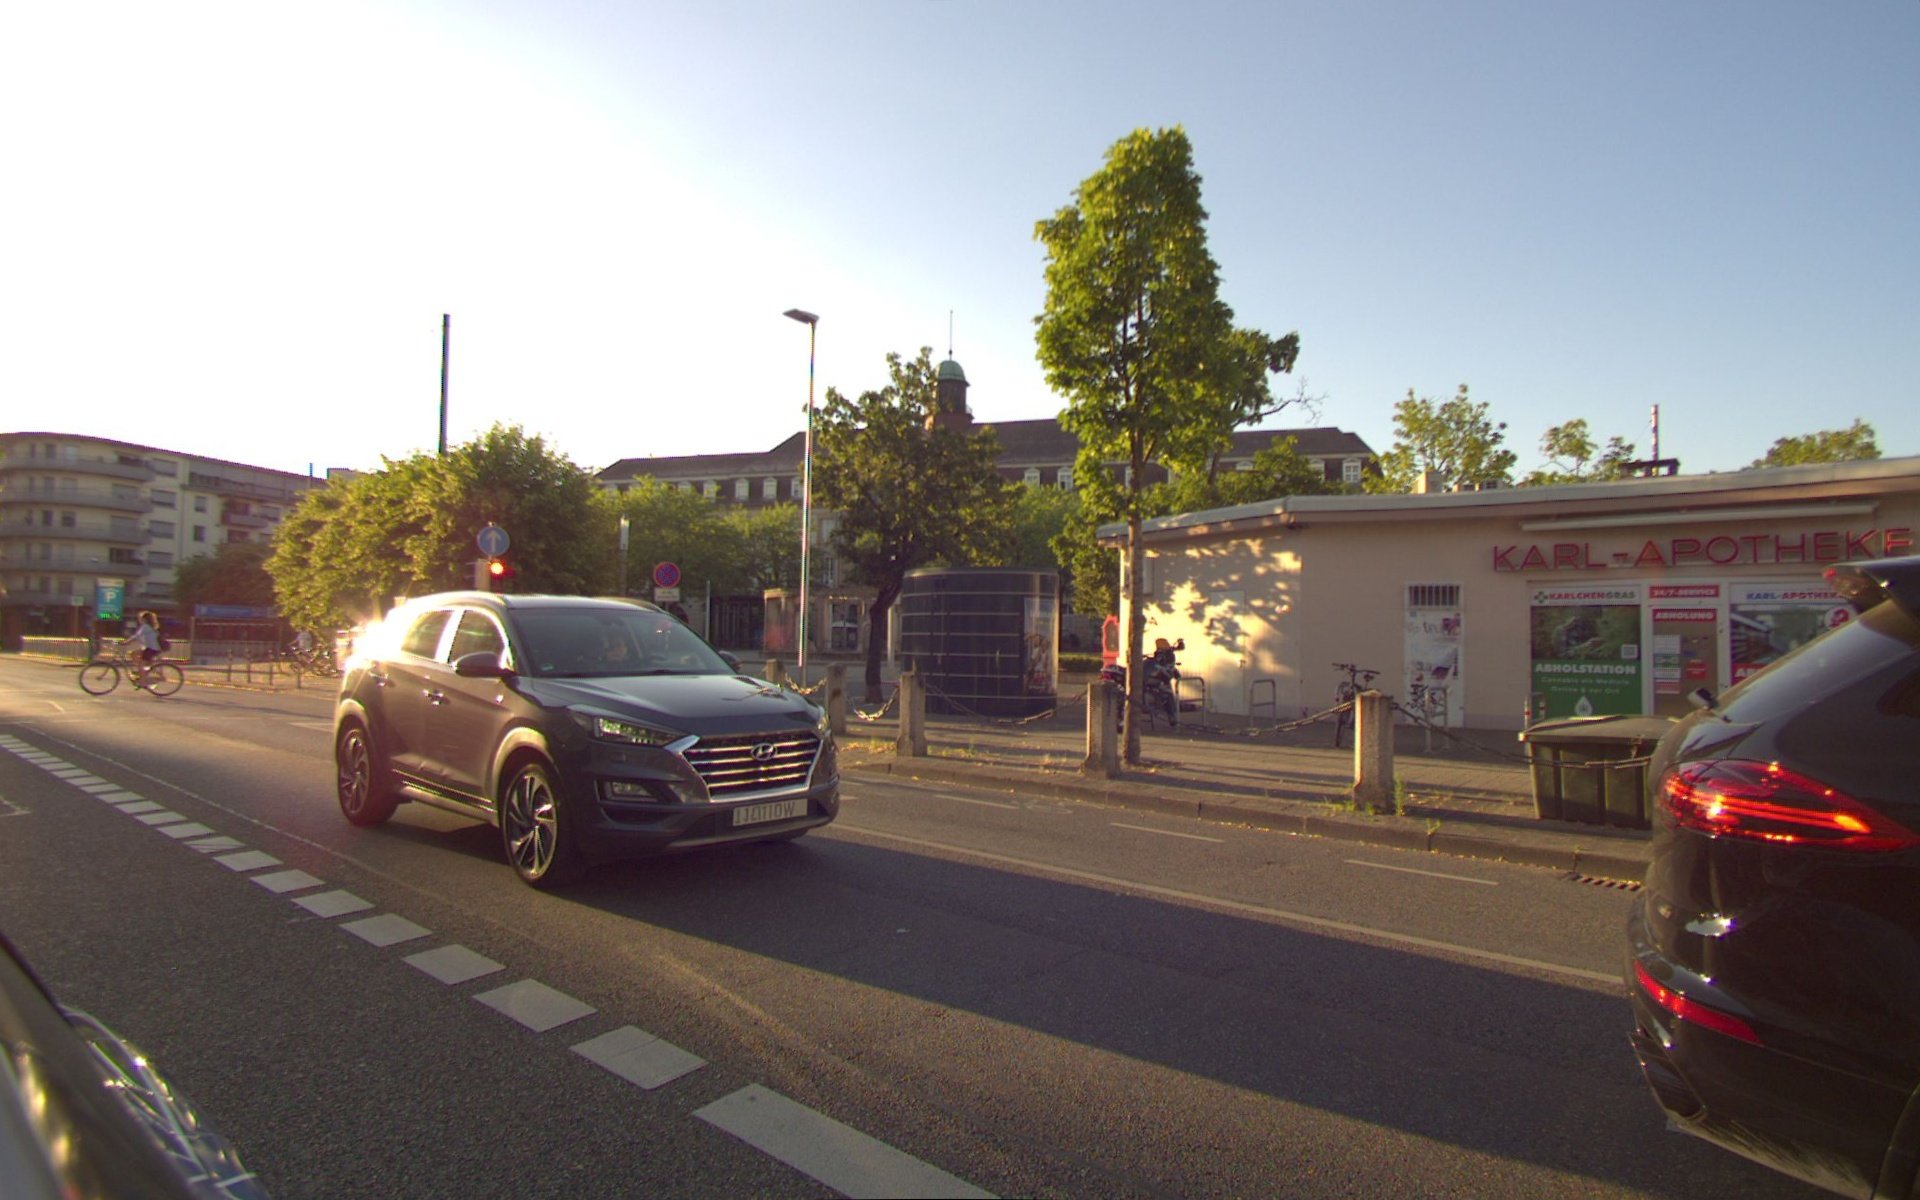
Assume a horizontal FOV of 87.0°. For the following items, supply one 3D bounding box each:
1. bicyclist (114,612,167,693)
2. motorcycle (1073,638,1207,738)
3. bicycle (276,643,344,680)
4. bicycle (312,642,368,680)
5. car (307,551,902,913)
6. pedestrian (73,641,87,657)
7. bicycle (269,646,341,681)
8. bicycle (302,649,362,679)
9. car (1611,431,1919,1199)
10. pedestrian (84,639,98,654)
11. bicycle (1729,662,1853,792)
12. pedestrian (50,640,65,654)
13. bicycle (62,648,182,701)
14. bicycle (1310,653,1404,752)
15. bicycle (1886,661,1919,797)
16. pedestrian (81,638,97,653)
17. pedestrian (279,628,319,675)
[{"bbox_3d":[-18.044,1.162,22.300,0.766,1.737,0.857,3,-4,-34],"label":"bicyclist"},{"bbox_3d":[2.868,1.342,15.858,0.868,1.440,2.554,-2,-4,41],"label":"motorcycle"},{"bbox_3d":[-23.322,2.193,36.354,0.548,1.262,2.007,-2,-2,36],"label":"bicycle"},{"bbox_3d":[-21.139,2.073,34.541,0.444,1.262,1.571,-2,-2,38],"label":"bicycle"},{"bbox_3d":[-2.647,0.729,6.947,4.447,1.702,1.853,-2,-5,41],"label":"car"},{"bbox_3d":[-74.904,4.138,86.112,0.888,1.332,0.723,-2,-3,39],"label":"pedestrian"},{"bbox_3d":[-22.466,2.158,34.723,0.548,1.143,2.007,-2,-2,36],"label":"bicycle"},{"bbox_3d":[-21.574,2.183,34.789,0.548,0.986,1.658,-2,-2,36],"label":"bicycle"},{"bbox_3d":[3.712,0.560,1.360,4.557,1.727,1.929,-2,-4,40],"label":"car"},{"bbox_3d":[-74.514,3.972,86.765,0.887,1.332,0.723,-2,-3,38],"label":"pedestrian"},{"bbox_3d":[9.095,1.316,11.060,0.949,1.266,1.984,-2,-4,41],"label":"bicycle"},{"bbox_3d":[-74.840,3.911,83.960,0.875,1.201,0.734,2,-4,-40],"label":"pedestrian"},{"bbox_3d":[-18.276,1.618,22.132,1.889,1.126,0.707,3,-3,-33],"label":"bicycle"},{"bbox_3d":[5.526,1.384,14.030,0.632,1.266,1.834,-2,-4,41],"label":"bicycle"},{"bbox_3d":[9.947,1.256,10.216,0.787,1.266,2.418,-2,-4,41],"label":"bicycle"},{"bbox_3d":[-74.836,3.903,86.960,0.814,1.332,0.684,-1,-3,16],"label":"pedestrian"},{"bbox_3d":[-25.864,2.018,39.620,0.939,1.831,0.826,1,-3,-2],"label":"pedestrian"}]
